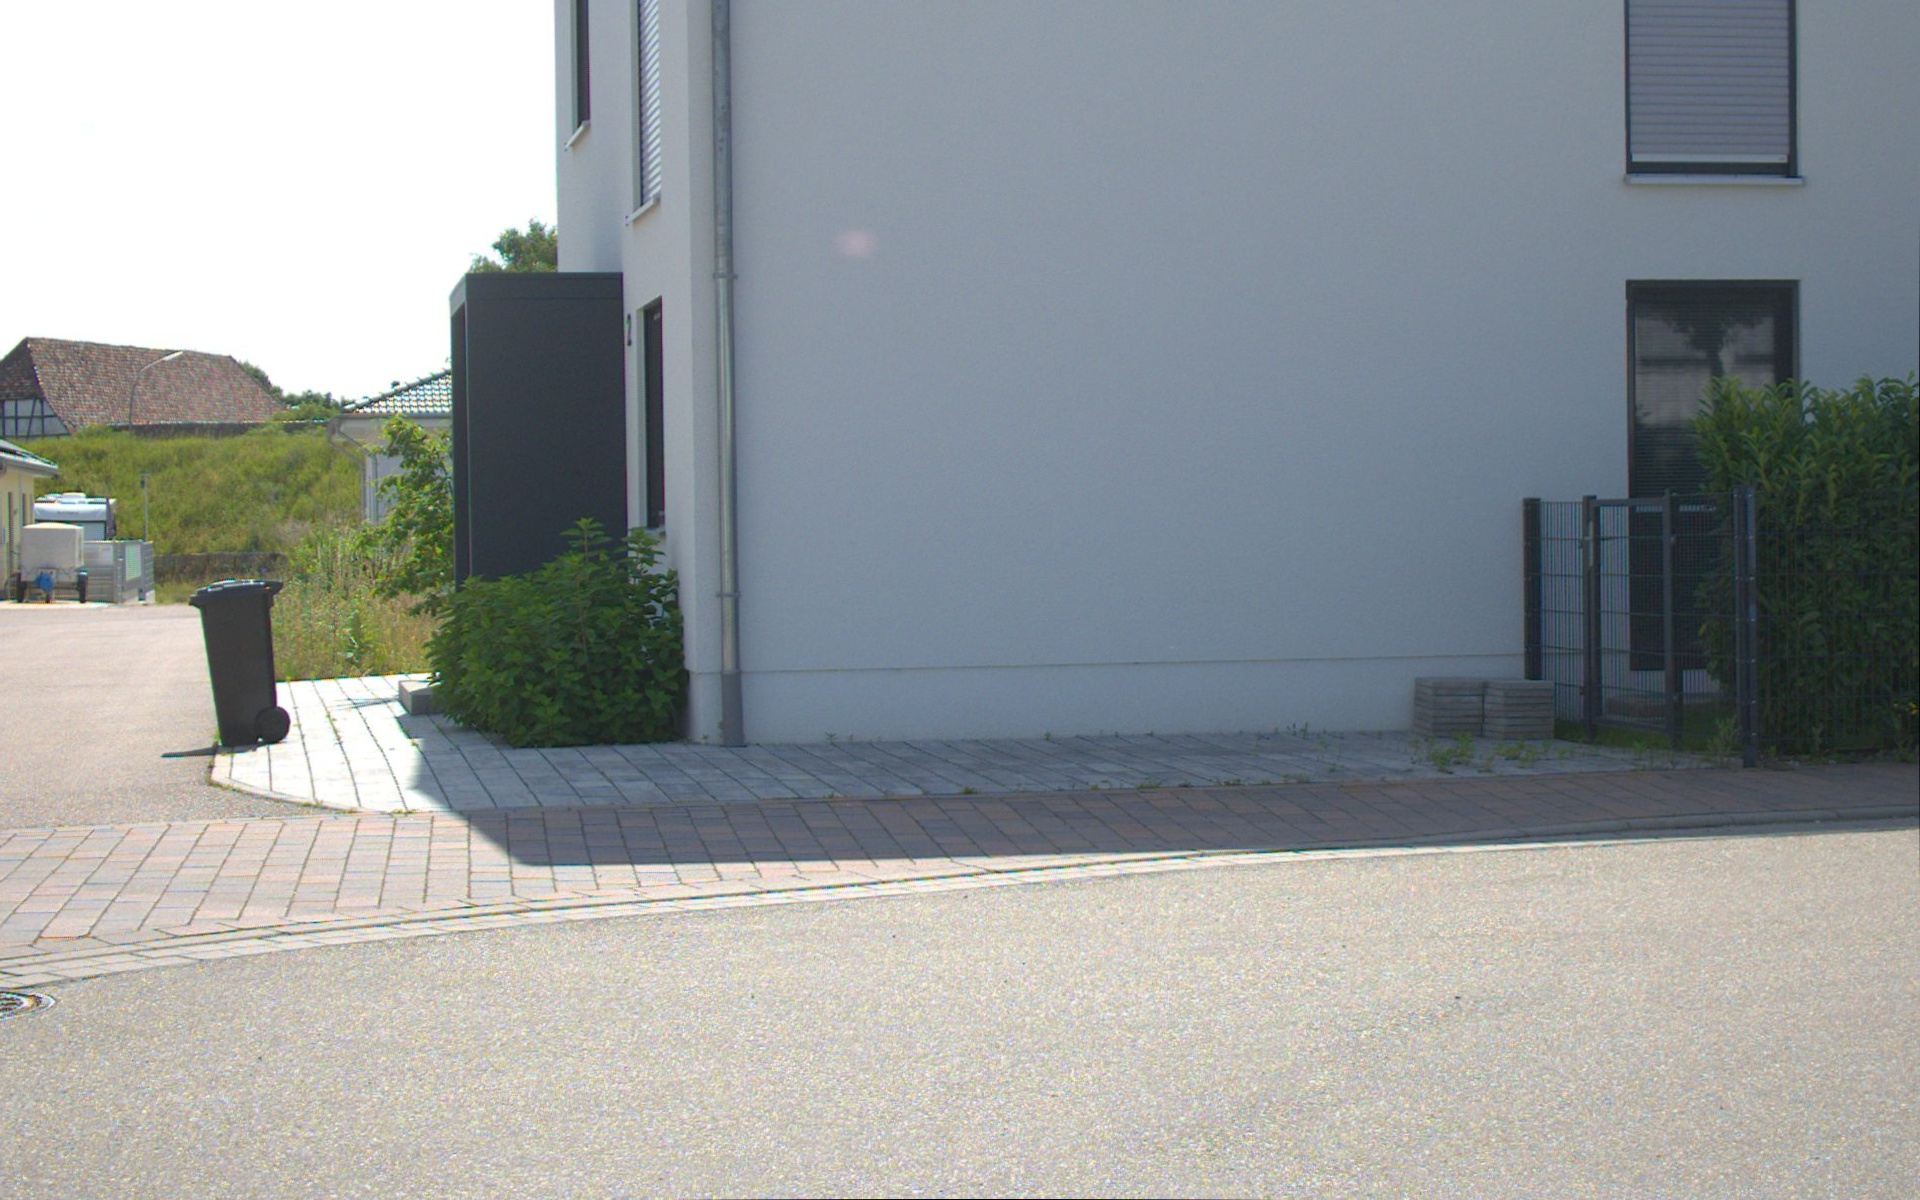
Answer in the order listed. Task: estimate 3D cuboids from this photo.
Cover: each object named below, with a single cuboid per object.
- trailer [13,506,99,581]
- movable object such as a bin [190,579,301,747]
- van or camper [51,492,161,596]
[{"bbox_3d":[-19.957,-1.235,75.947,1.626,1.608,2.562,1,0,-10],"label":"trailer"},{"bbox_3d":[-4.208,0.363,20.279,0.599,0.945,0.501,-2,2,-11],"label":"movable object such as a bin"},{"bbox_3d":[-20.656,-1.339,83.315,2.263,2.402,4.846,1,0,-10],"label":"van or camper"}]
